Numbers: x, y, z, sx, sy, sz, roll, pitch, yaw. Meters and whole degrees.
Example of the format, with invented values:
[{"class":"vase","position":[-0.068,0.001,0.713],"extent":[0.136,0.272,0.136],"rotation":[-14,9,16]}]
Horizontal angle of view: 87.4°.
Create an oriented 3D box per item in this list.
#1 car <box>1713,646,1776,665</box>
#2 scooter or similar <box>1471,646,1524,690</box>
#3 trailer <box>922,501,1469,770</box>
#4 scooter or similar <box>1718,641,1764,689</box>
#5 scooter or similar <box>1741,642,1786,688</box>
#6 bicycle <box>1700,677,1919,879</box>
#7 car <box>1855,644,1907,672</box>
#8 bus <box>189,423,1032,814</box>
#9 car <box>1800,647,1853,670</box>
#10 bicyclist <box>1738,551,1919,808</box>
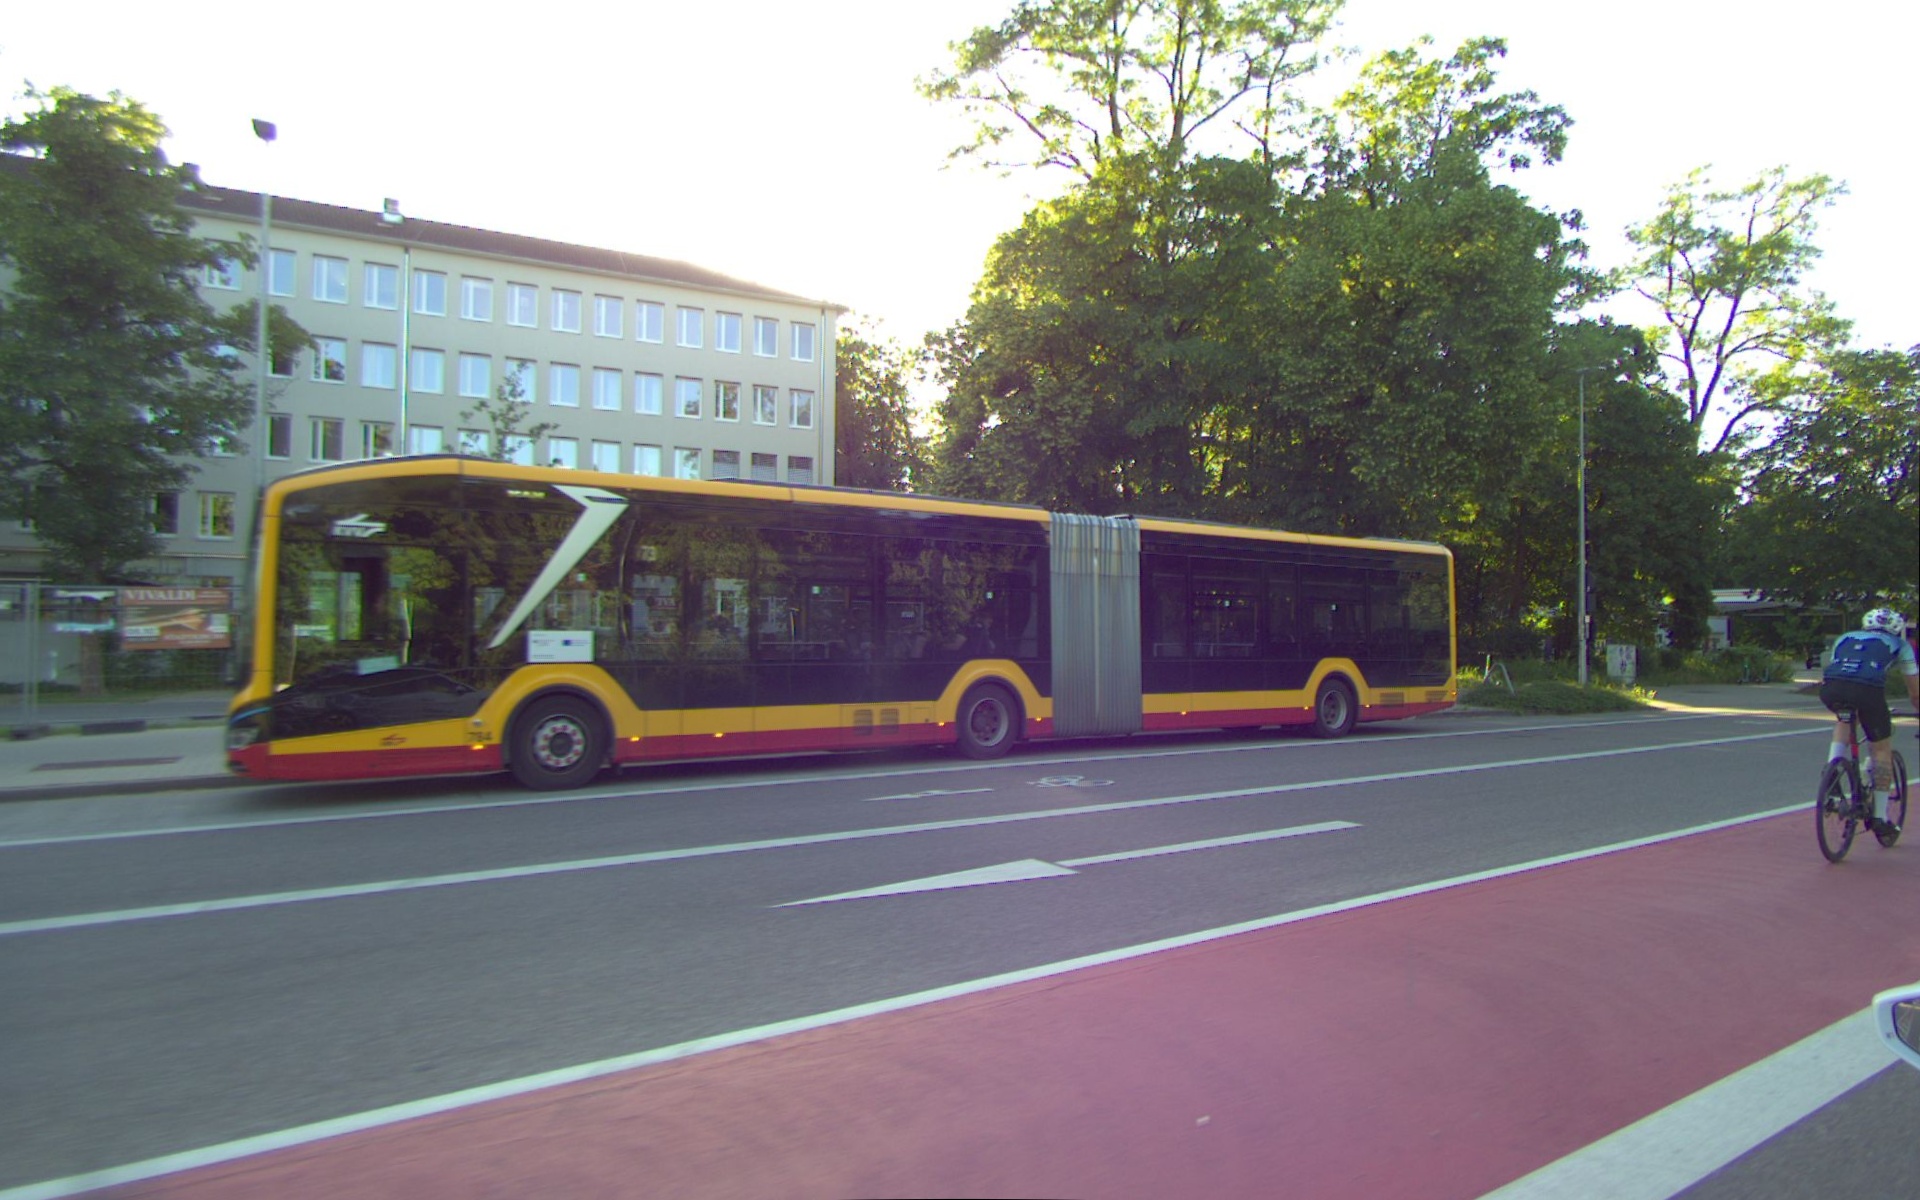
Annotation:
[{"class":"car","position":[68.835,4.849,88.176],"extent":[1.882,1.576,3.958],"rotation":[2,-3,-37]},{"class":"scooter or similar","position":[16.914,2.120,31.616],"extent":[1.553,1.327,0.823],"rotation":[2,-2,-32]},{"class":"trailer","position":[4.145,0.598,16.346],"extent":[9.255,3.400,2.840],"rotation":[2,-1,-31]},{"class":"scooter or similar","position":[29.531,2.446,37.957],"extent":[1.722,1.739,0.823],"rotation":[2,-2,-32]},{"class":"scooter or similar","position":[31.169,2.513,38.960],"extent":[1.722,1.739,0.823],"rotation":[2,-2,-32]},{"class":"bicycle","position":[6.087,1.118,6.817],"extent":[2.109,1.110,0.888],"rotation":[2,-1,-28]},{"class":"car","position":[59.494,3.739,64.854],"extent":[4.413,1.713,1.698],"rotation":[2,-3,-37]},{"class":"bus","position":[-3.427,0.310,11.768],"extent":[8.502,3.238,2.826],"rotation":[2,-3,-31]},{"class":"car","position":[61.143,4.118,70.868],"extent":[4.530,1.517,1.700],"rotation":[2,-3,-34]},{"class":"bicyclist","position":[5.980,0.501,6.788],"extent":[0.870,1.588,0.856],"rotation":[1,-1,-27]}]
